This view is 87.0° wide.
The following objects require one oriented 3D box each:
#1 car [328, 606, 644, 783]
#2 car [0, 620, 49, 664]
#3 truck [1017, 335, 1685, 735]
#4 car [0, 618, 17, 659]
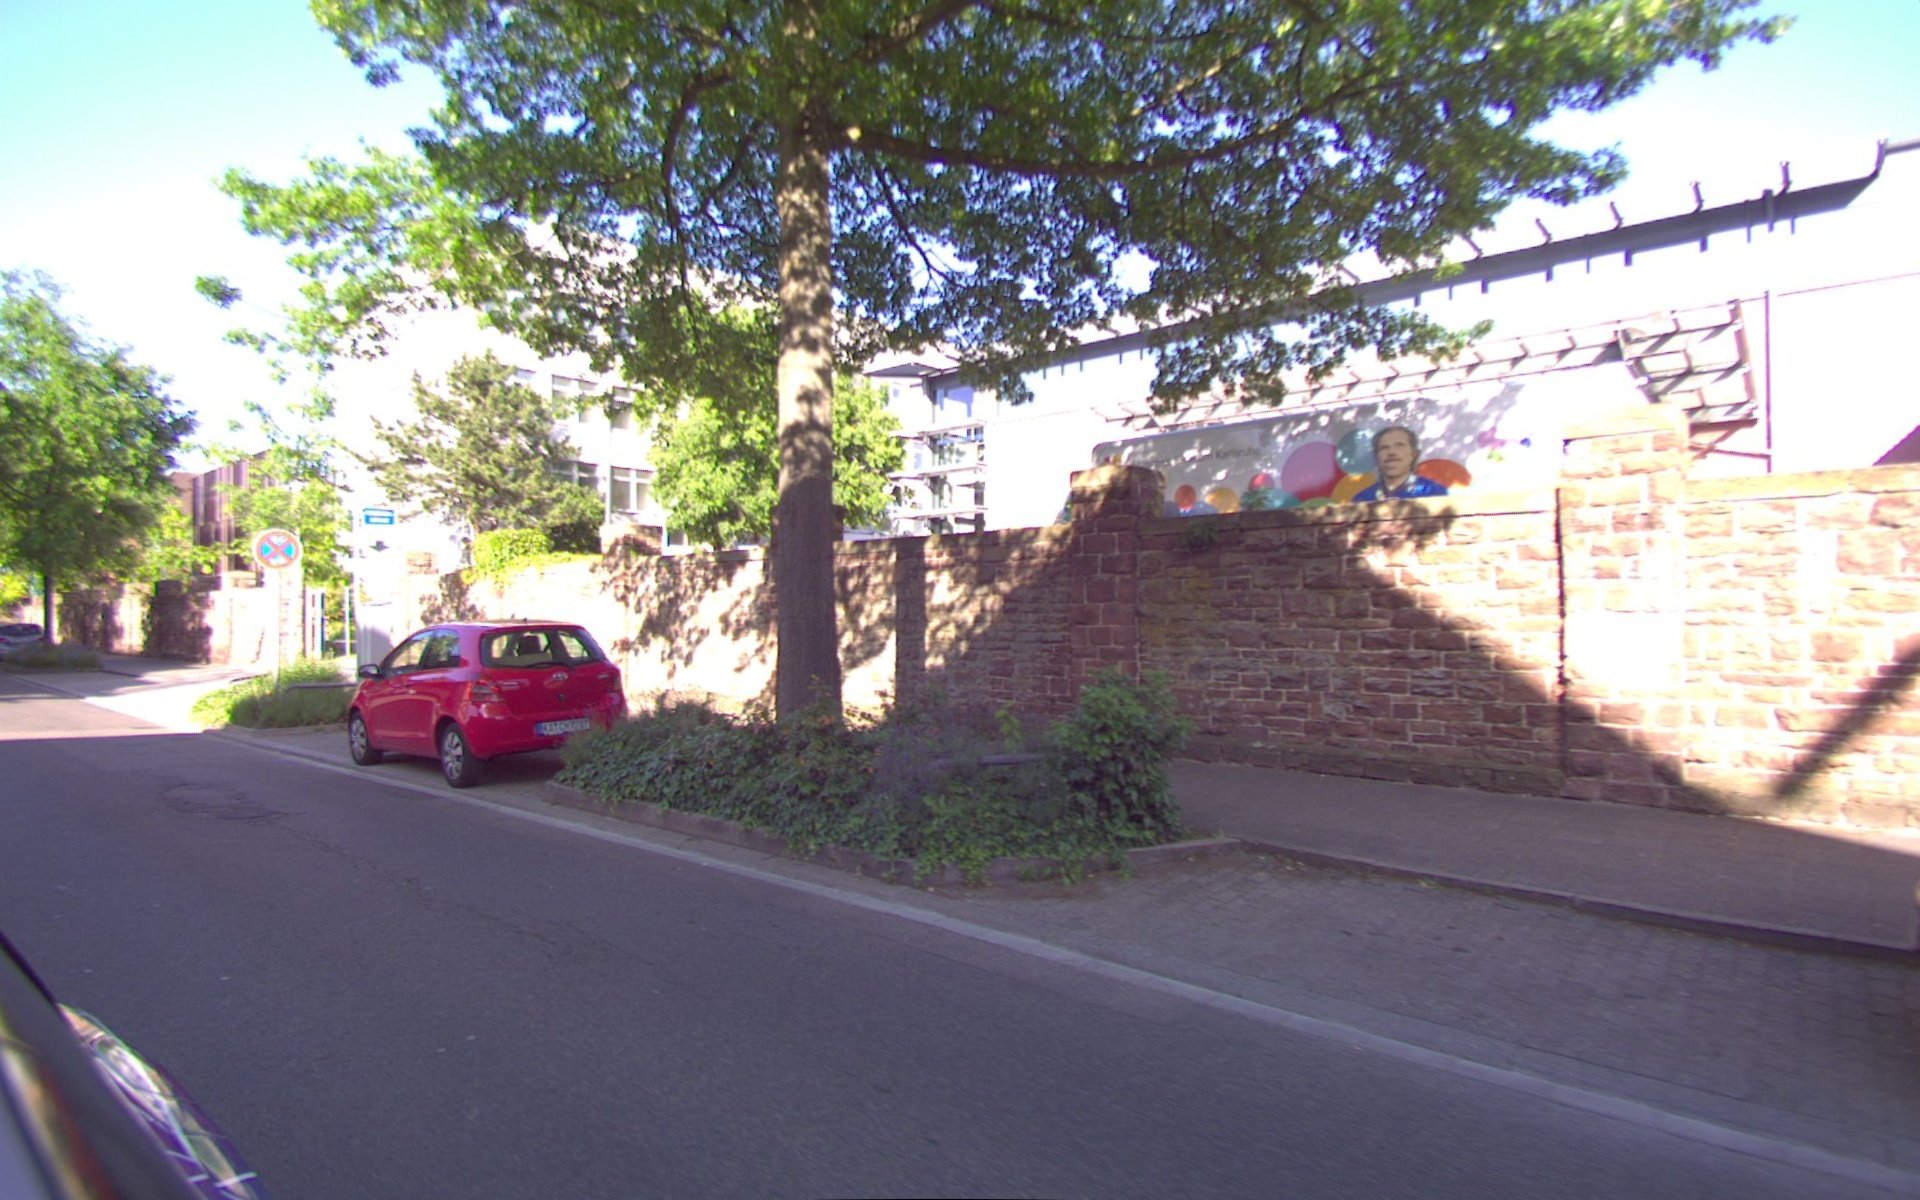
[{"bbox_3d":[-5.006,0.839,10.486,3.706,1.470,1.592,-1,0,41],"label":"car"},{"bbox_3d":[-33.945,1.481,36.094,3.836,1.432,1.670,-1,0,41],"label":"car"},{"bbox_3d":[4.538,-0.576,12.916,7.423,3.739,2.705,-1,0,41],"label":"truck"},{"bbox_3d":[-38.110,1.503,39.423,4.041,1.526,1.558,-1,-1,40],"label":"car"}]
